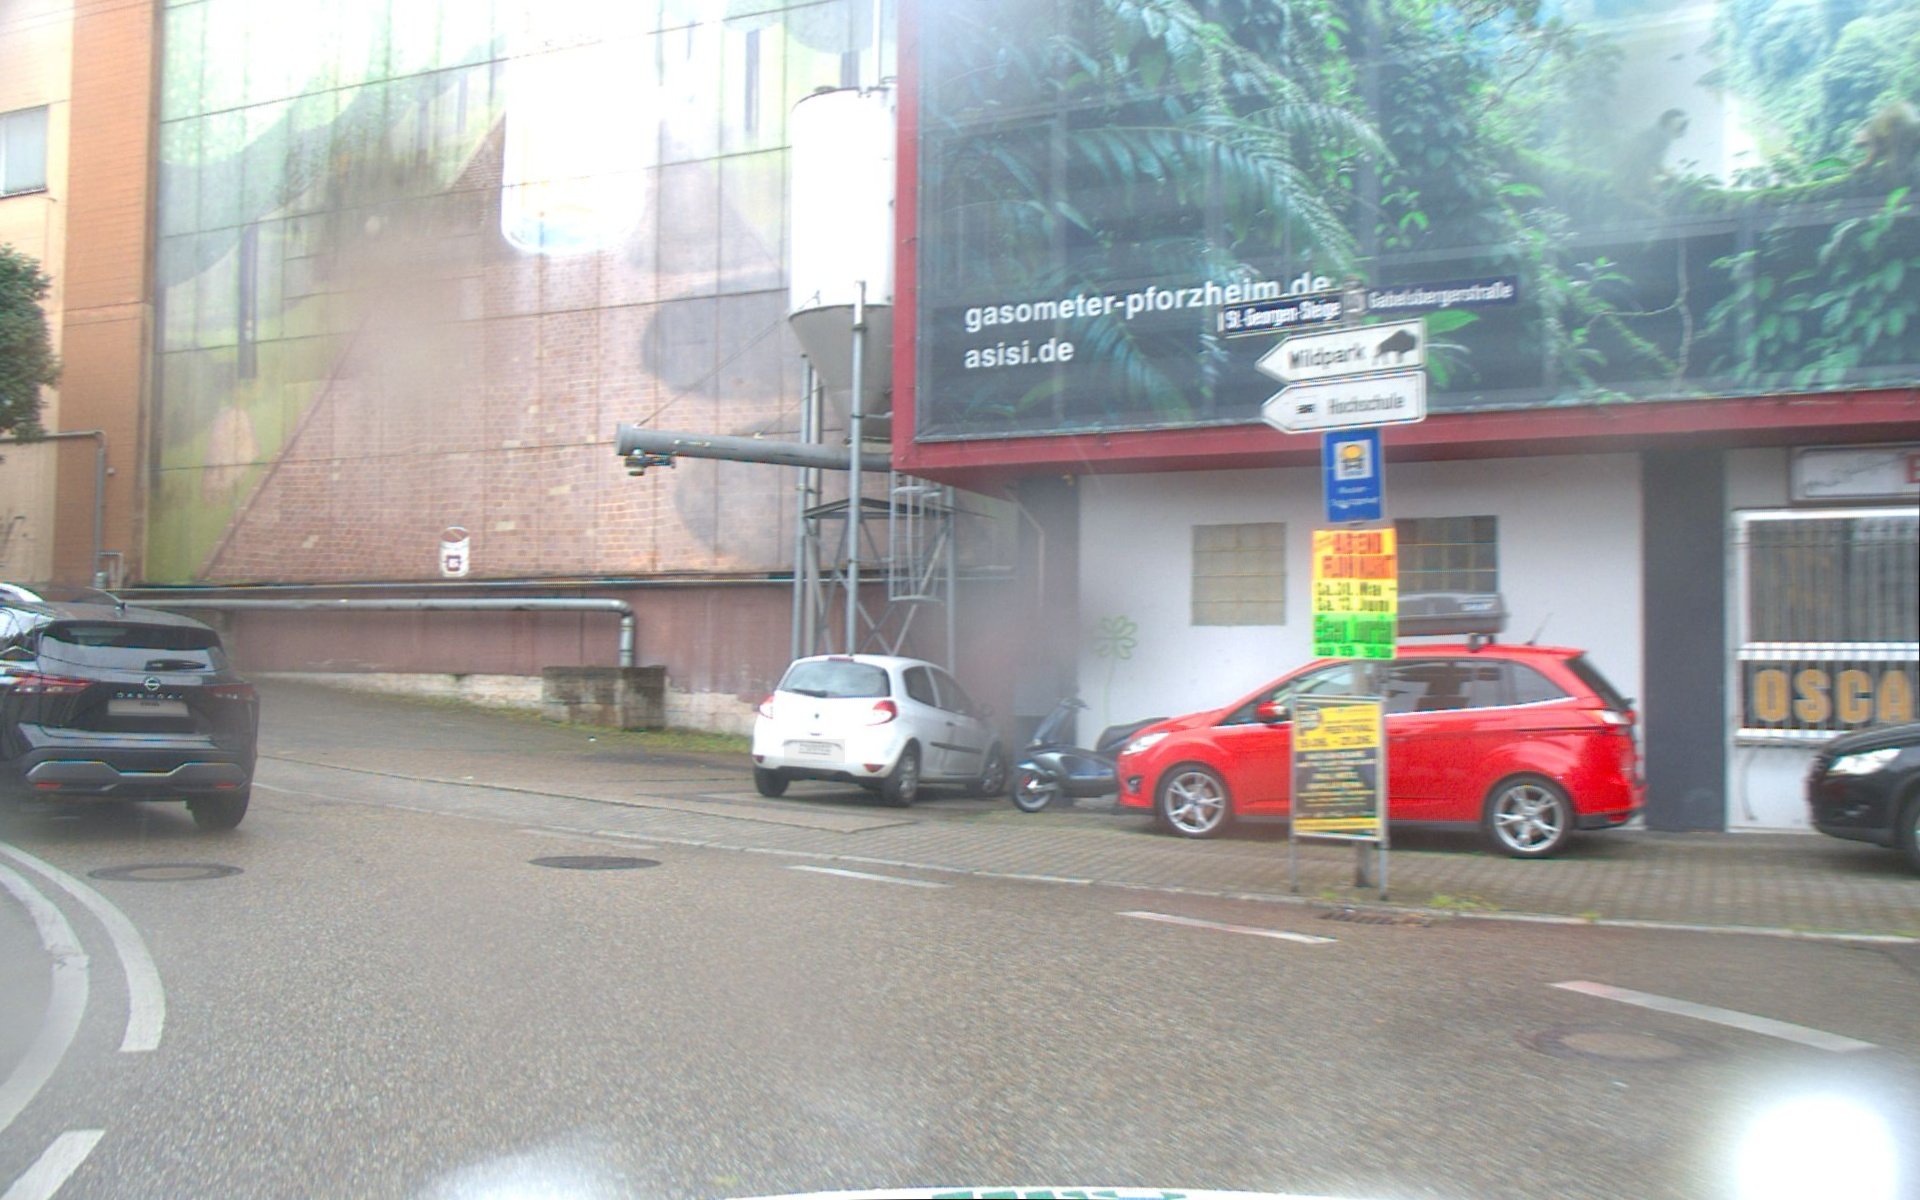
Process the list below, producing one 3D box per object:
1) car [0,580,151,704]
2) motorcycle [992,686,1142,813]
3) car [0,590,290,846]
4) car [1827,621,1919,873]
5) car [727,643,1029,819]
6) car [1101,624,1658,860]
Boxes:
[{"bbox_3d":[-14.705,0.563,25.516,4.817,1.645,1.852,3,0,35],"label":"car"},{"bbox_3d":[1.045,1.444,16.129,1.388,1.181,0.452,0,-3,13],"label":"motorcycle"},{"bbox_3d":[-6.743,0.816,12.526,1.870,1.622,3.862,5,-4,-41],"label":"car"},{"bbox_3d":[8.393,0.991,11.655,3.908,1.741,1.931,-2,-2,26],"label":"car"},{"bbox_3d":[-0.765,1.328,18.207,1.831,1.560,3.992,0,0,22],"label":"car"},{"bbox_3d":[3.624,1.118,14.324,4.389,1.742,1.931,0,-2,26],"label":"car"}]
